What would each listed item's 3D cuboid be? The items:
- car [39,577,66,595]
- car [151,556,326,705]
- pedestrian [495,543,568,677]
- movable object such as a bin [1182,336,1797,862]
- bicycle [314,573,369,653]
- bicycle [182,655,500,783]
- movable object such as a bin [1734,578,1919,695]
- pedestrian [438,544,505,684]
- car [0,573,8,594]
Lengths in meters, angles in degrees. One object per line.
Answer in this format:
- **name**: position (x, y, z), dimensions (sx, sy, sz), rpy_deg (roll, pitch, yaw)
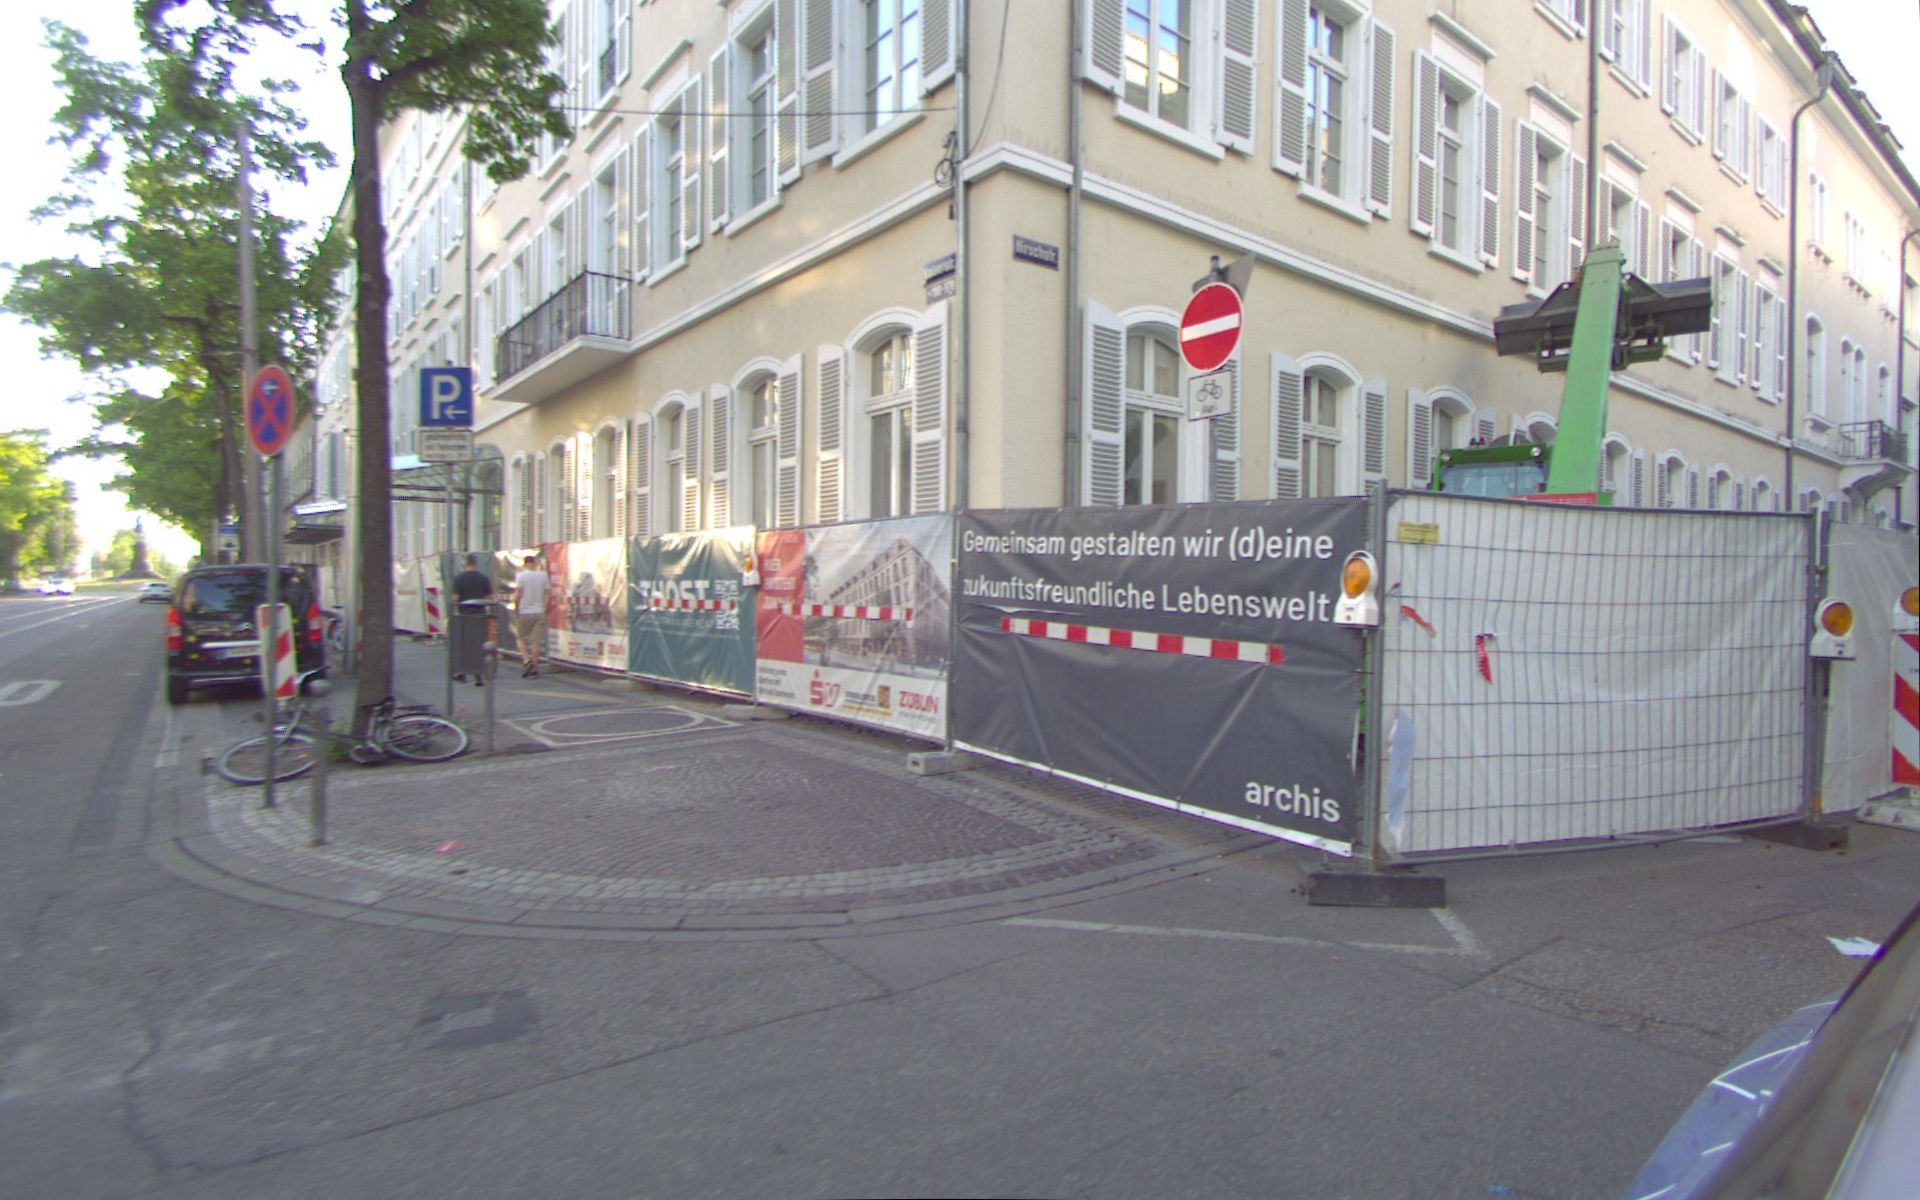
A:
- **car**: position (-90.946, -1.415, 101.476), dimensions (1.708, 1.759, 4.102), rpy_deg (-1, 1, -38)
- **car**: position (-10.245, 0.318, 14.513), dimensions (1.740, 1.786, 3.878), rpy_deg (-3, 3, -34)
- **pedestrian**: position (-6.373, 0.123, 15.040), dimensions (0.746, 1.907, 0.880), rpy_deg (-3, 3, -37)
- **movable object such as a bin**: position (4.617, -0.045, 8.391), dimensions (5.467, 2.908, 2.641), rpy_deg (0, 2, -40)
- **bicycle**: position (-12.974, 0.242, 21.202), dimensions (0.691, 1.570, 2.182), rpy_deg (-2, 2, -38)
- **bicycle**: position (-5.153, 0.925, 8.487), dimensions (2.043, 0.715, 1.327), rpy_deg (-2, 2, -44)
- **movable object such as a bin**: position (16.464, 0.549, 17.874), dimensions (7.163, 1.685, 2.897), rpy_deg (0, 1, -40)
- **pedestrian**: position (-6.949, 0.172, 14.385), dimensions (0.667, 1.907, 0.769), rpy_deg (-3, 3, -37)
- **car**: position (-82.839, -1.438, 86.537), dimensions (1.708, 1.759, 4.102), rpy_deg (-1, 1, -38)
